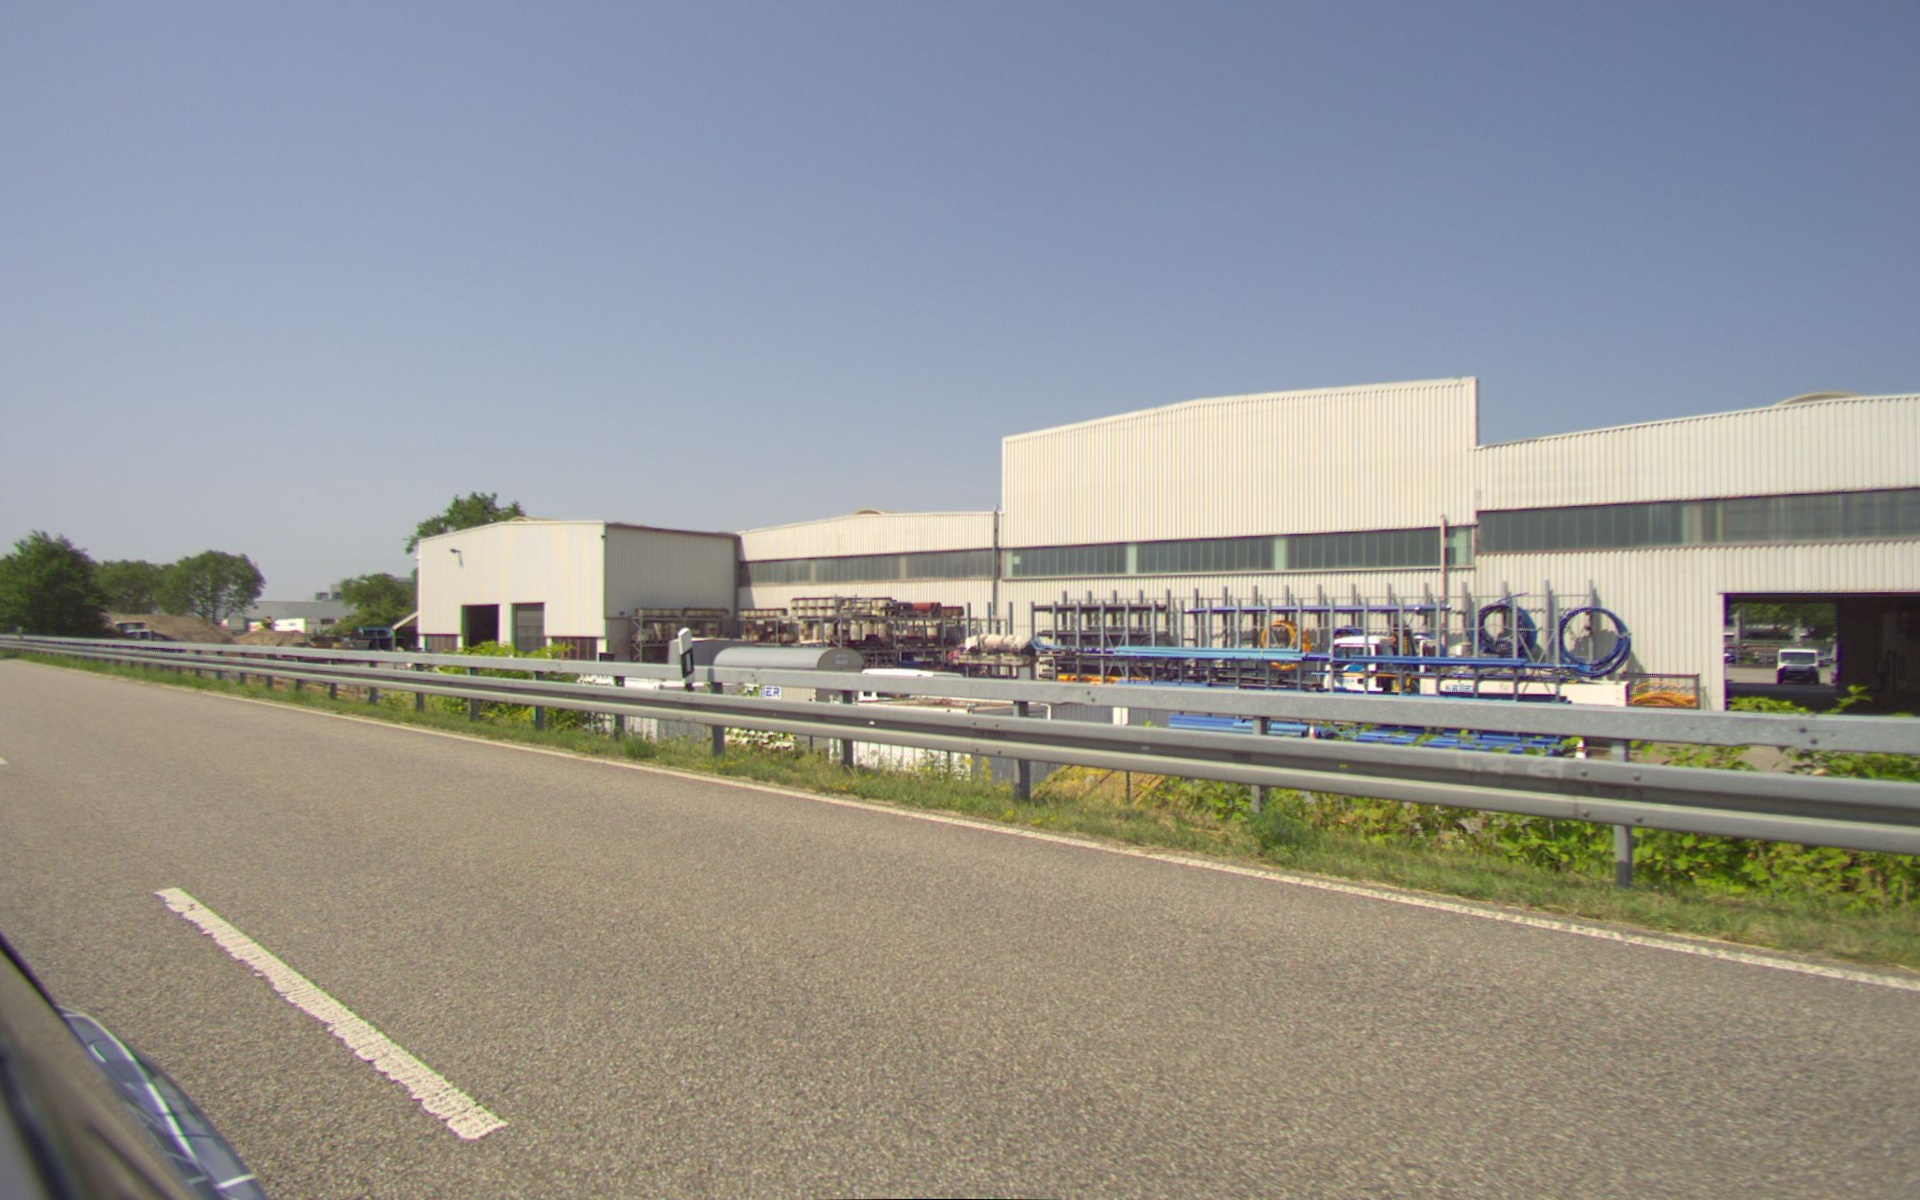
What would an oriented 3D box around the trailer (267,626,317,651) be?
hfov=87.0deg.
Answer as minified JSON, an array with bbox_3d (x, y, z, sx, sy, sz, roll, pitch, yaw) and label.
[{"bbox_3d":[-123.178,7.090,186.406,15.558,4.293,2.671,-3,-2,37],"label":"trailer"}]

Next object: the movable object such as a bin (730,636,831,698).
[{"bbox_3d":[-8.377,3.191,47.615,2.127,2.701,4.506,-1,-6,33],"label":"movable object such as a bin"}]

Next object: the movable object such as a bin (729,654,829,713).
[{"bbox_3d":[-7.306,3.345,41.107,1.847,2.029,3.830,-1,0,34],"label":"movable object such as a bin"}]

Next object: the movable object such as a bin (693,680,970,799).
[{"bbox_3d":[-2.449,2.732,21.206,2.444,2.034,5.843,-2,-4,35],"label":"movable object such as a bin"}]

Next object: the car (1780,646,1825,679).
[{"bbox_3d":[52.100,3.830,62.581,1.773,1.966,3.510,-2,-4,45],"label":"car"}]

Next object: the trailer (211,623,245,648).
[{"bbox_3d":[-126.442,6.147,174.757,7.529,4.251,2.827,-3,-2,38],"label":"trailer"}]
